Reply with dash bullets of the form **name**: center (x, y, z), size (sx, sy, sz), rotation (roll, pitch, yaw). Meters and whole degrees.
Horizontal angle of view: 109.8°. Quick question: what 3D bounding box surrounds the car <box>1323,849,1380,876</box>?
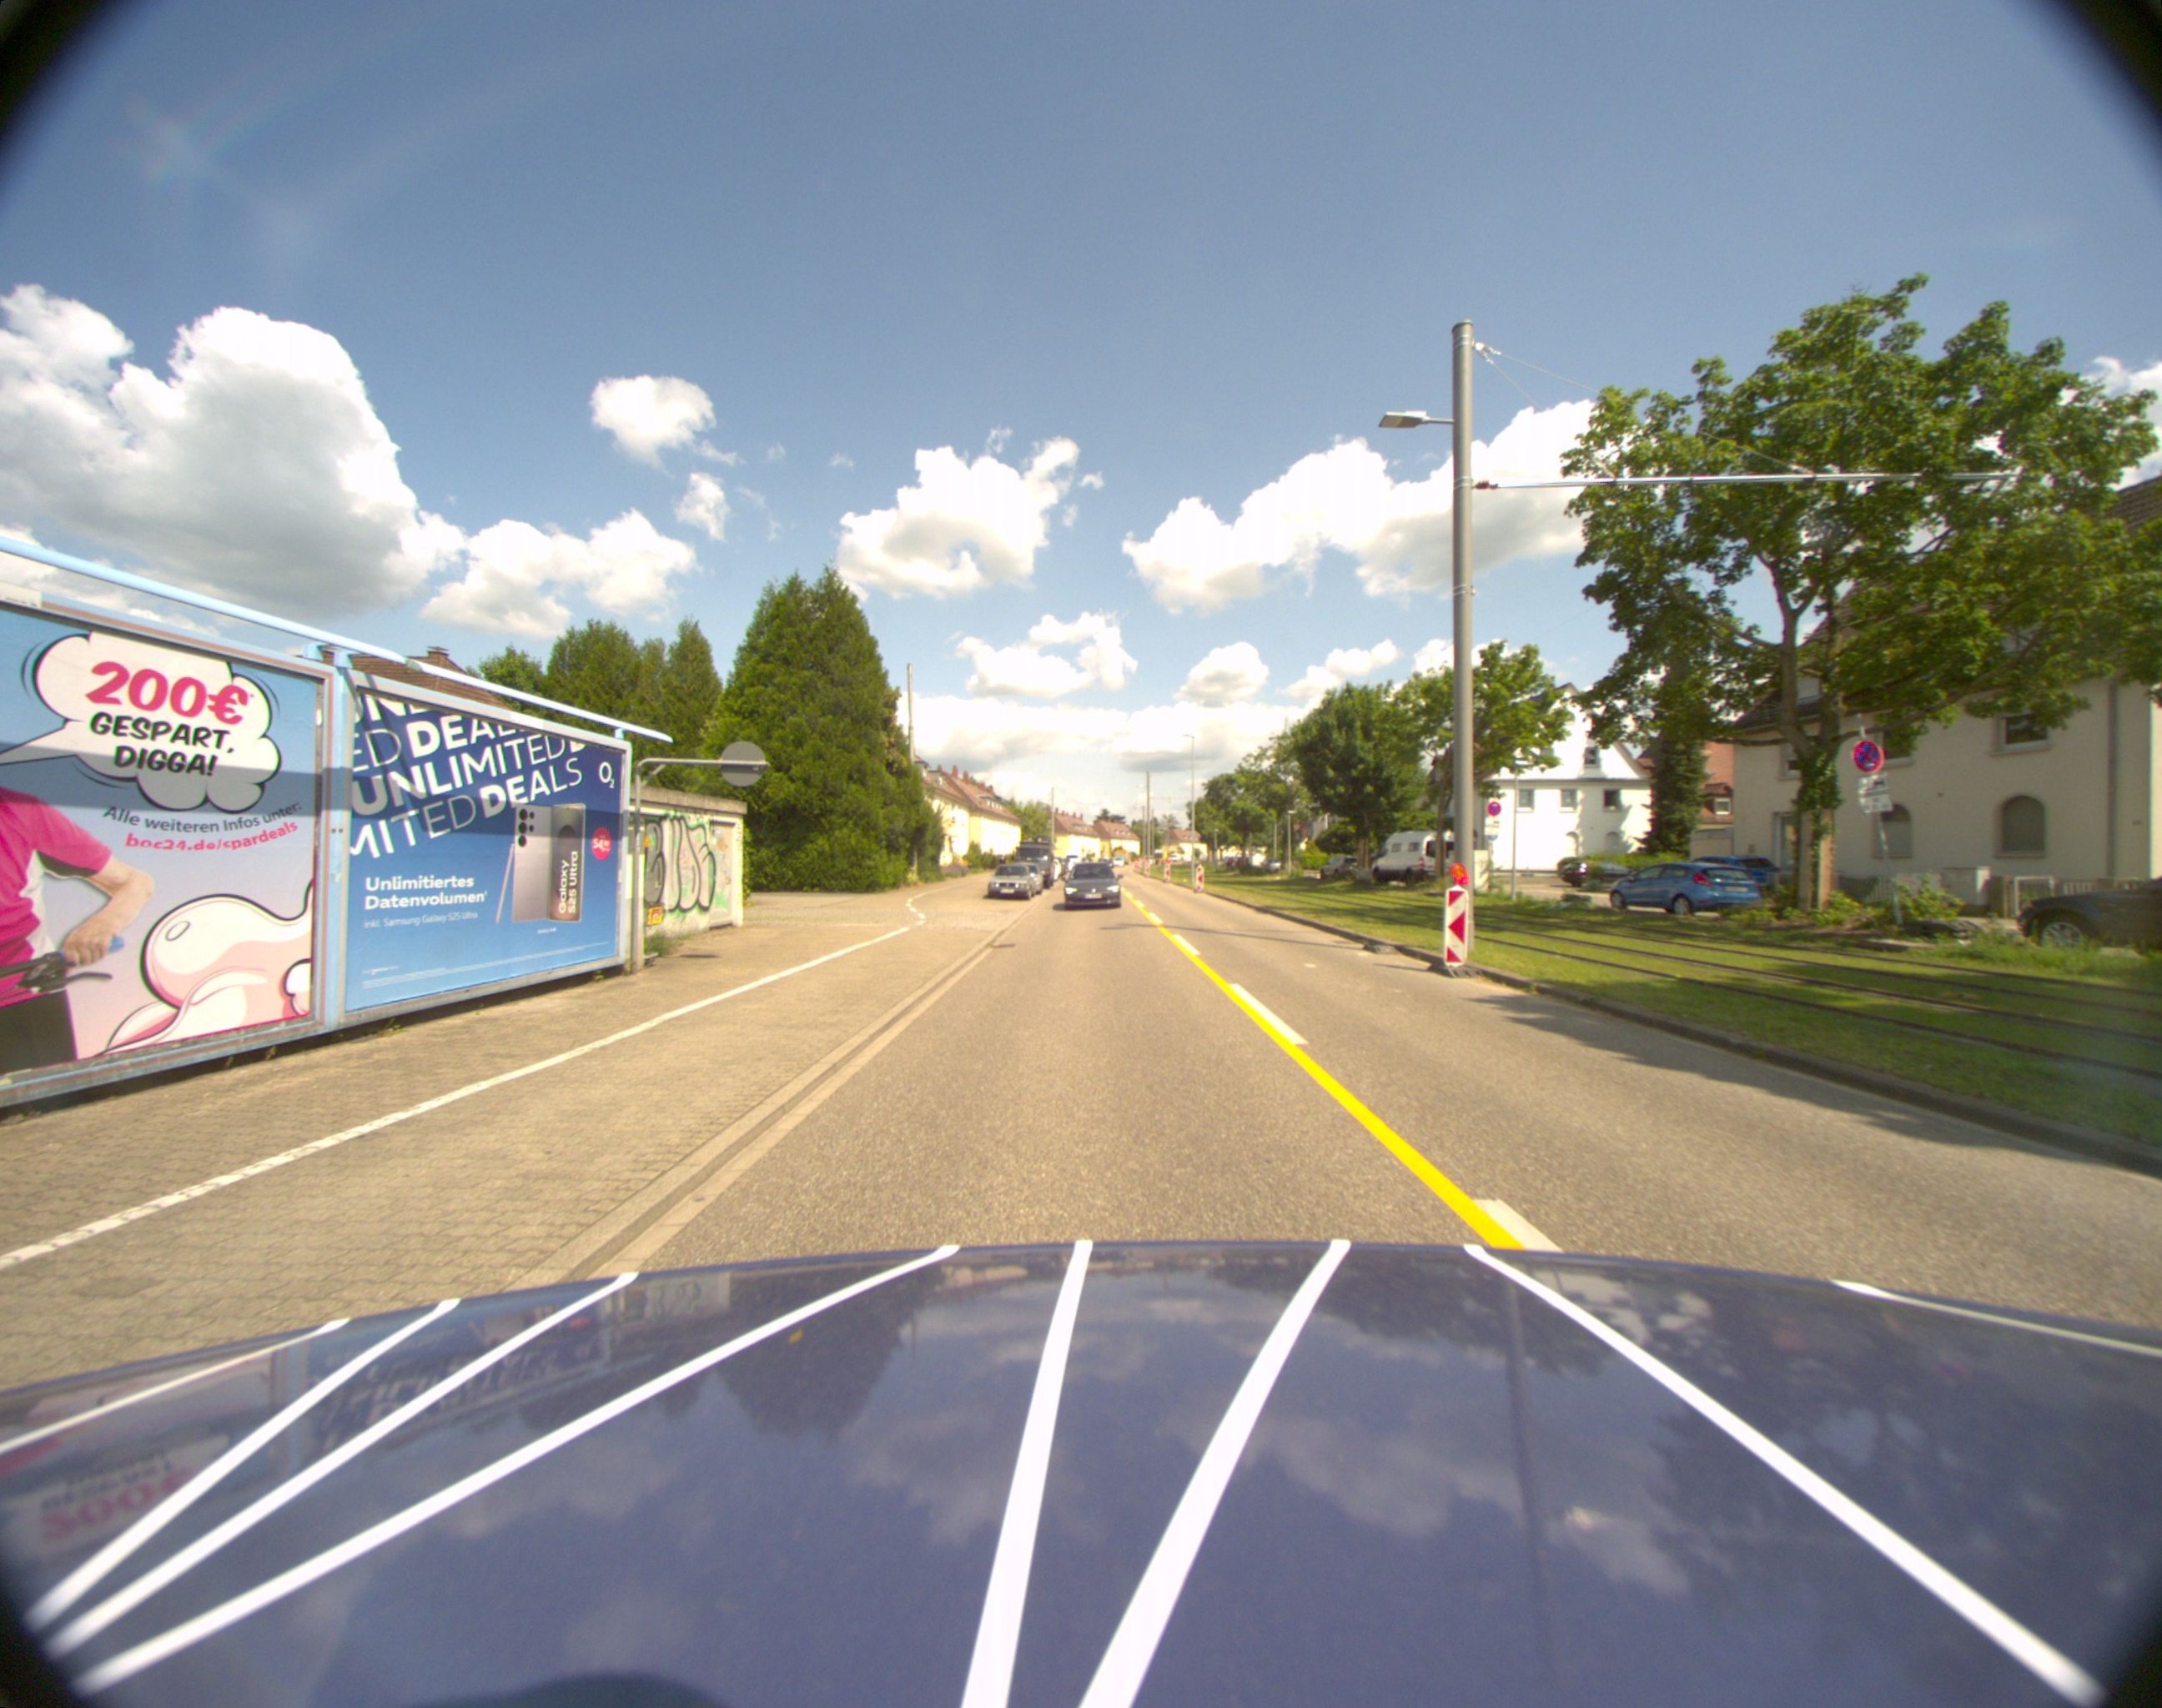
- **car**: center (16.538, 0.494, 46.676), size (1.998, 1.497, 4.486), rotation (0, 1, 1)

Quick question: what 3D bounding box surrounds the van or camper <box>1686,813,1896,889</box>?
- **van or camper**: center (31.095, -0.121, 33.494), size (6.744, 3.203, 2.634), rotation (0, 0, 0)

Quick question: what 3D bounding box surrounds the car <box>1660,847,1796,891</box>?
- **car**: center (24.929, 0.537, 29.489), size (1.907, 1.568, 4.000), rotation (0, 1, 1)

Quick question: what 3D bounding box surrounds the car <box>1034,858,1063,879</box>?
- **car**: center (-2.194, 0.978, 52.039), size (1.725, 1.287, 4.128), rotation (1, 0, 0)

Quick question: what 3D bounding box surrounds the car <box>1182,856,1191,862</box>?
- **car**: center (27.839, 1.292, 200.760), size (1.511, 1.490, 3.580), rotation (1, 1, 23)

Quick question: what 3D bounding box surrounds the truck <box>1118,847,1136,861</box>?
- **truck**: center (9.756, -0.096, 160.438), size (2.530, 2.931, 7.867), rotation (1, 1, 11)

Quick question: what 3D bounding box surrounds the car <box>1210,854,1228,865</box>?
- **car**: center (19.247, 0.755, 105.993), size (1.998, 1.531, 4.323), rotation (0, 1, 4)

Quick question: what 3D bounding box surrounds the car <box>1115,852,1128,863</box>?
- **car**: center (7.049, 0.581, 132.555), size (1.998, 1.791, 4.002), rotation (0, 0, 6)

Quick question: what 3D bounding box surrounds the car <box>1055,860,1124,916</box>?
- **car**: center (0.362, 1.013, 24.115), size (1.786, 1.412, 4.291), rotation (-4, 0, 4)

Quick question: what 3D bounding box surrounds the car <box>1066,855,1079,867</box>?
- **car**: center (-0.999, 0.829, 90.978), size (1.358, 1.299, 3.543), rotation (1, 1, 2)

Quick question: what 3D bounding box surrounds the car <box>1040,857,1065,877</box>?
- **car**: center (-2.177, 0.962, 58.587), size (1.653, 1.410, 4.026), rotation (1, 0, 2)

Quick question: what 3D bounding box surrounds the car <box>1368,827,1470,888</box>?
- **car**: center (16.365, 0.156, 37.254), size (1.999, 2.714, 6.461), rotation (0, 0, -1)

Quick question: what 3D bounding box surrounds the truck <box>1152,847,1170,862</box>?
- **truck**: center (18.281, 0.184, 174.016), size (2.699, 3.346, 8.060), rotation (1, 0, 16)

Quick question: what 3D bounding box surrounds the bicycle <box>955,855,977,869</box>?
- **bicycle**: center (-9.442, 0.659, 62.352), size (1.693, 1.096, 0.290), rotation (-1, 1, 0)

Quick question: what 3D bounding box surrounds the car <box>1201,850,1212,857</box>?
- **car**: center (35.076, -0.142, 212.328), size (1.838, 2.043, 3.876), rotation (1, 1, 29)

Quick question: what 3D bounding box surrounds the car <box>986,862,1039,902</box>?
- **car**: center (-2.668, 1.064, 30.391), size (1.655, 1.423, 4.096), rotation (0, 1, 2)

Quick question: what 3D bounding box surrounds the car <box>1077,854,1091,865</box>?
- **car**: center (0.430, 0.728, 104.753), size (1.513, 1.490, 3.408), rotation (1, 1, 6)

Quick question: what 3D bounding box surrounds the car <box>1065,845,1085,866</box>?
- **car**: center (-0.696, 0.210, 95.690), size (1.923, 2.522, 5.346), rotation (1, 0, 5)

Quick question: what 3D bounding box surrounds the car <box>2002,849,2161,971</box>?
- **car**: center (16.100, 0.803, 10.215), size (1.999, 1.681, 4.390), rotation (0, 1, -2)

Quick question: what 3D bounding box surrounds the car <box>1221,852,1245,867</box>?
- **car**: center (17.403, 0.623, 87.298), size (1.998, 1.531, 4.322), rotation (0, 1, 2)

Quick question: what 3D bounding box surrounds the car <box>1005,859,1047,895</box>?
- **car**: center (-2.498, 1.011, 35.314), size (1.696, 1.507, 4.354), rotation (0, 1, -2)

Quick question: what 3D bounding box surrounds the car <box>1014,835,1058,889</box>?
- **car**: center (-2.363, 0.386, 41.210), size (2.001, 2.744, 4.878), rotation (1, 0, 1)

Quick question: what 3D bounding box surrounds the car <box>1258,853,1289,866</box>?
- **car**: center (16.821, 0.481, 66.504), size (1.785, 1.087, 3.836), rotation (0, 1, 1)

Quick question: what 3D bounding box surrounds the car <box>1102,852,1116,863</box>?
- **car**: center (4.058, 0.521, 110.714), size (1.998, 1.566, 4.000), rotation (0, 0, 0)

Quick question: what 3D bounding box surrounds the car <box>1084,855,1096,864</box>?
- **car**: center (1.384, 0.836, 113.882), size (1.513, 1.241, 3.408), rotation (1, 1, 6)

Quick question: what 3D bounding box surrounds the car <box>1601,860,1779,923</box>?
- **car**: center (16.123, 0.922, 20.410), size (1.758, 1.427, 3.889), rotation (0, 1, 3)

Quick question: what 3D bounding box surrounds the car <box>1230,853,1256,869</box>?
- **car**: center (17.497, 0.804, 82.130), size (1.910, 1.568, 4.102), rotation (3, -1, 2)

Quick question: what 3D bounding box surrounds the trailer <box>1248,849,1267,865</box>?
- **trailer**: center (16.710, 0.293, 71.993), size (1.302, 1.510, 2.282), rotation (0, 1, 1)

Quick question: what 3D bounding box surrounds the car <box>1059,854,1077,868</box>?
- **car**: center (-1.397, 0.740, 82.456), size (1.756, 1.480, 4.627), rotation (1, 0, 1)

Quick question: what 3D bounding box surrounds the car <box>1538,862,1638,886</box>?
- **car**: center (27.016, 1.047, 40.589), size (3.997, 1.155, 2.045), rotation (0, 1, 0)
